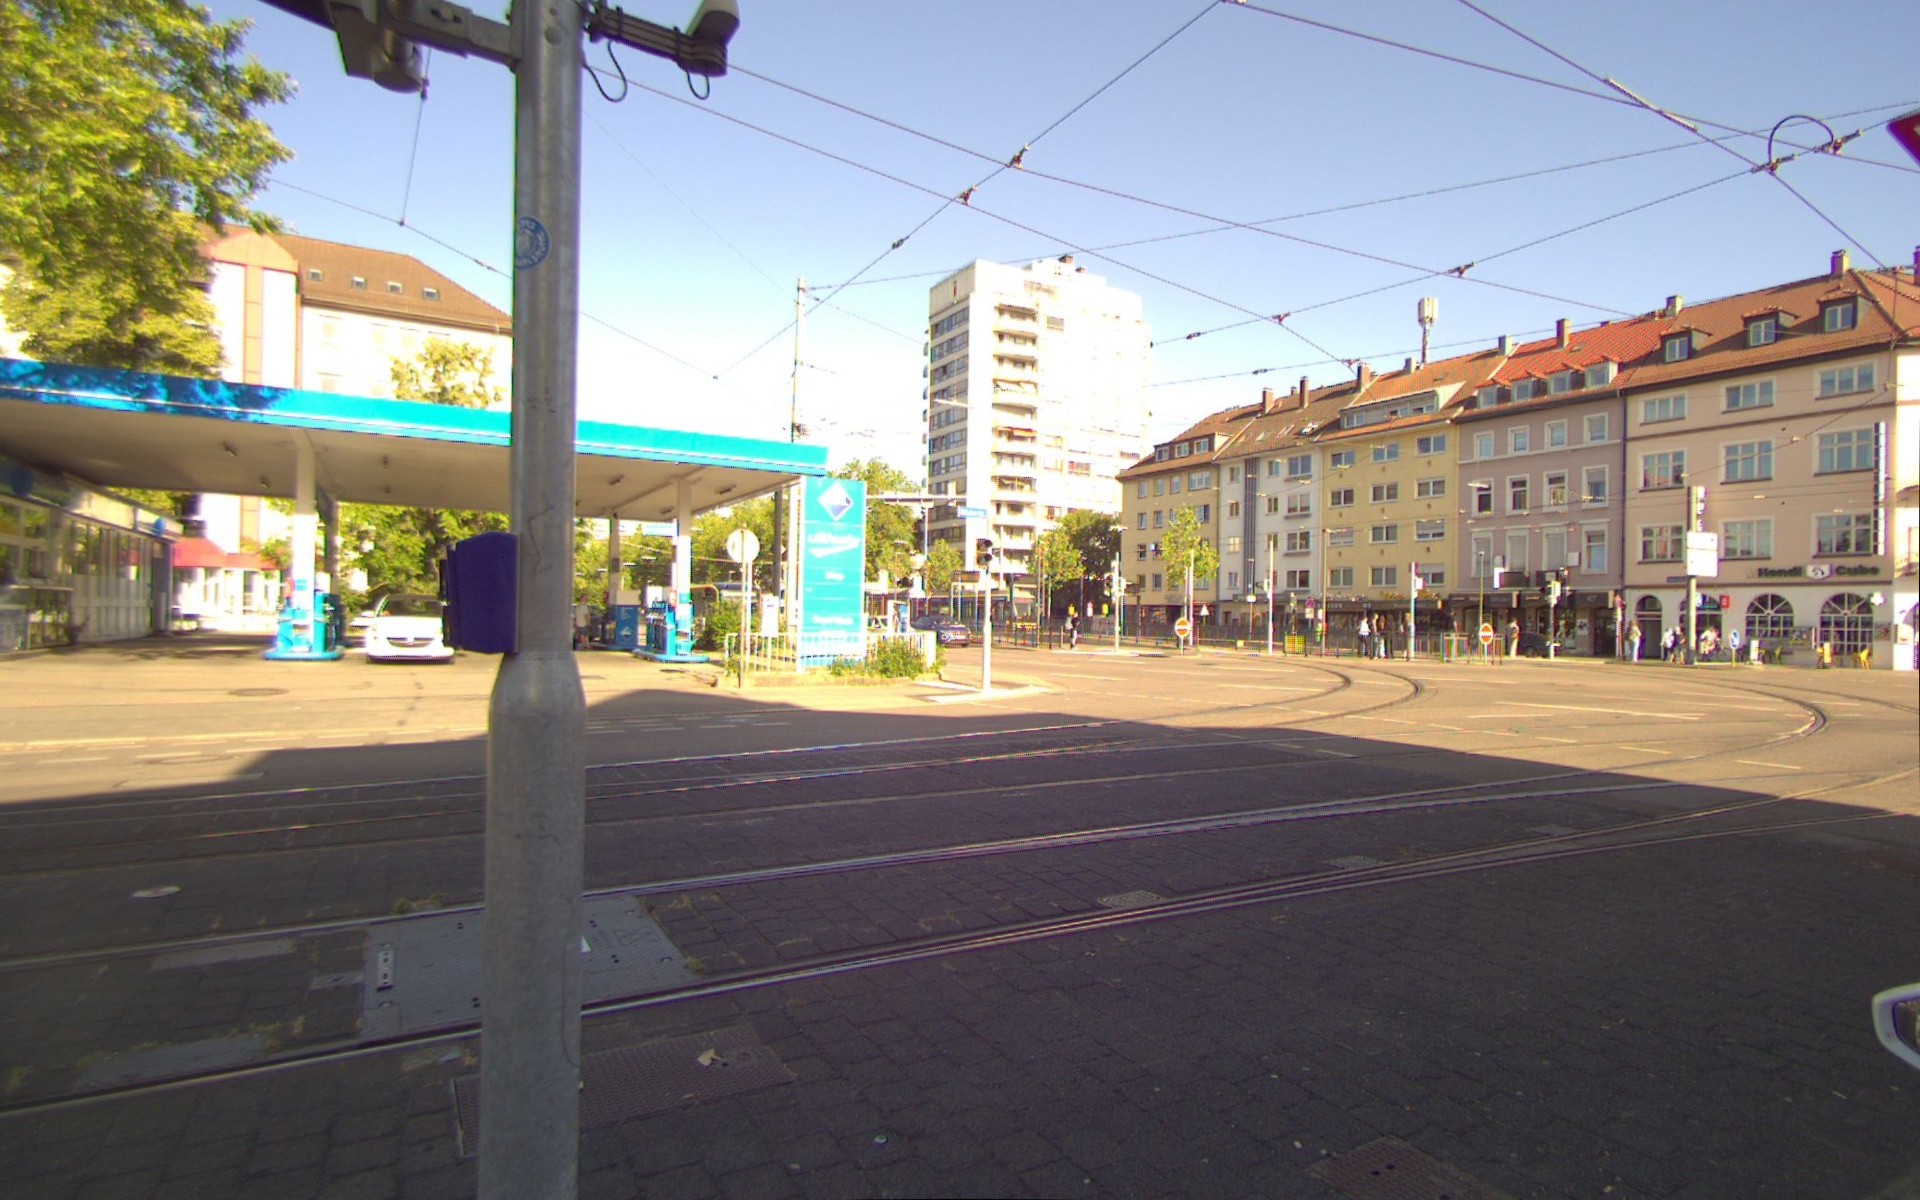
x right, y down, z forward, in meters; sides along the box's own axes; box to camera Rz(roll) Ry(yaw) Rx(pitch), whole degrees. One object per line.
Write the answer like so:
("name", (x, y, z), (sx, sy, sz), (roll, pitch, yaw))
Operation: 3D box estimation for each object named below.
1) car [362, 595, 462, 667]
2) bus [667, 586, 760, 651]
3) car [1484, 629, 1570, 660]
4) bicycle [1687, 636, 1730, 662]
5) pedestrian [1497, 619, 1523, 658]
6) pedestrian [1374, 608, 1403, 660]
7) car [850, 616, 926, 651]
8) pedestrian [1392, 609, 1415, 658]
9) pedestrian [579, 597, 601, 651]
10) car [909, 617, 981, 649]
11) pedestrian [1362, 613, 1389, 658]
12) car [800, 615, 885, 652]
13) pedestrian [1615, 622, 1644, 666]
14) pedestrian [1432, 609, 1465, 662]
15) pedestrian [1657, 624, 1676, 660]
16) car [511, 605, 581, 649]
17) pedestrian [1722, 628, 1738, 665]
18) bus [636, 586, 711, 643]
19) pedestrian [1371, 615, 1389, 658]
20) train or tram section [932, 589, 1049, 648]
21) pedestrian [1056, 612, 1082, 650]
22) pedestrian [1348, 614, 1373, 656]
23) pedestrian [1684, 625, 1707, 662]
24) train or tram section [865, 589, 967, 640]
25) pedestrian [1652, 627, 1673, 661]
("car", (-12.360, 0.668, 22.554), (1.793, 1.461, 3.966), (1, -1, -31))
("bus", (-14.695, 0.970, 59.294), (2.748, 3.504, 9.364), (0, 1, -31))
("car", (30.884, 2.406, 54.851), (1.795, 1.511, 3.715), (2, 0, -27))
("bicycle", (37.836, 2.465, 50.800), (1.693, 1.293, 0.385), (0, -1, 44))
("pedestrian", (24.178, 1.682, 44.149), (0.621, 1.704, 0.763), (1, -1, -30))
("pedestrian", (15.681, 1.225, 36.758), (0.769, 1.874, 0.625), (1, -1, -30))
("car", (-3.356, 1.534, 46.499), (1.724, 1.518, 3.929), (1, -1, -35))
("pedestrian", (16.459, 1.251, 37.302), (0.553, 1.810, 0.557), (1, -1, -30))
("pedestrian", (-11.832, 0.774, 32.121), (0.579, 1.715, 0.756), (1, -1, -25))
("car", (-0.778, 1.530, 47.867), (1.697, 1.439, 4.149), (1, -1, -28))
("pedestrian", (15.653, 1.322, 37.868), (0.565, 1.657, 0.737), (1, -1, -30))
("car", (-5.040, 1.409, 42.608), (1.725, 1.459, 4.239), (2, -2, -36))
("pedestrian", (26.510, 1.733, 39.784), (0.621, 1.704, 0.737), (1, -1, -30))
("pedestrian", (17.500, 1.255, 35.989), (0.714, 1.853, 0.763), (1, -1, -30))
("pedestrian", (33.899, 2.027, 48.176), (0.731, 1.704, 0.626), (0, -1, 35))
("car", (-13.581, 0.853, 32.875), (1.697, 1.360, 3.970), (1, -1, -28))
("pedestrian", (26.946, 1.633, 35.163), (0.447, 1.270, 0.361), (1, -1, -41))
("bus", (-19.236, 0.865, 67.021), (2.755, 3.504, 8.571), (0, 1, -30))
("pedestrian", (15.598, 1.345, 37.311), (0.447, 1.571, 0.425), (1, -1, -30))
("train or tram section", (2.014, 1.252, 74.575), (2.926, 3.986, 11.589), (2, 0, -30))
("pedestrian", (4.745, 1.327, 43.602), (0.788, 1.632, 0.766), (1, -1, -36))
("pedestrian", (15.655, 1.371, 39.278), (0.553, 1.602, 0.695), (1, -1, -30))
("pedestrian", (34.488, 2.042, 47.092), (0.734, 1.704, 0.623), (1, -1, -32))
("train or tram section", (-3.981, 1.131, 85.245), (2.926, 3.986, 12.850), (2, 0, -30))
("pedestrian", (35.538, 2.211, 50.794), (0.623, 1.704, 0.734), (1, -1, -41))
